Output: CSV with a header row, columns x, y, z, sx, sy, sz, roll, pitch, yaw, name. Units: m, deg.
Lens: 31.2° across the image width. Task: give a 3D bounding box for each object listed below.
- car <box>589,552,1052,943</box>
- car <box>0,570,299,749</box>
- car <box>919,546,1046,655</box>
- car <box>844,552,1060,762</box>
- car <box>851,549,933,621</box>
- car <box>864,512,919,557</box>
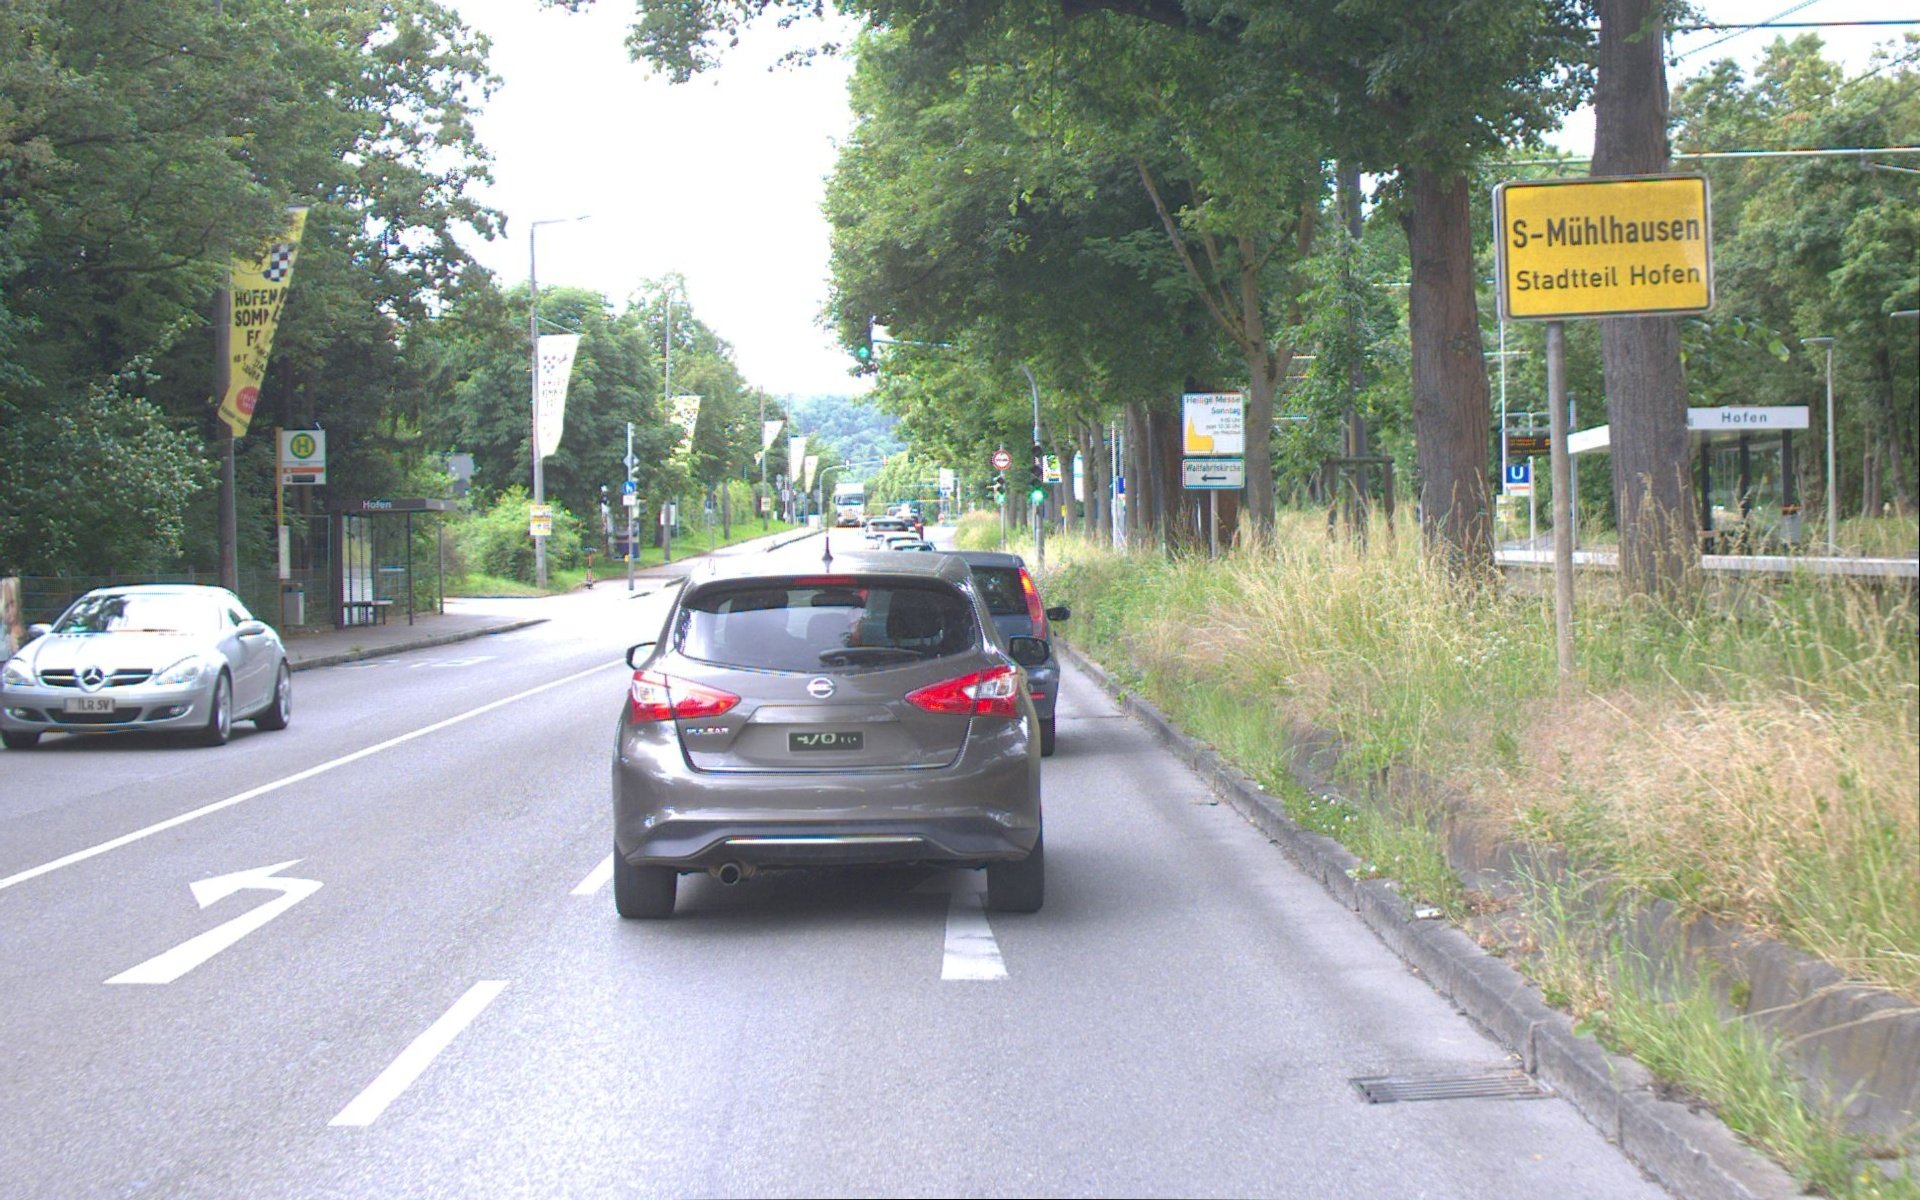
x,y,z,sx,sy,sz,roll,pitch,yaw,name
-0.548,0.549,15.243,1.783,1.501,3.696,-1,1,0,car
-6.652,0.443,28.162,1.758,1.332,3.696,-1,1,0,car
0.282,-0.015,47.966,1.691,1.436,3.542,0,1,-1,car
-0.078,0.377,25.929,1.502,1.436,3.542,0,1,-1,car
-1.420,-0.333,72.593,1.691,1.436,3.542,0,1,-1,car
-2.537,-2.435,128.218,1.993,1.568,4.000,1,0,-1,car
